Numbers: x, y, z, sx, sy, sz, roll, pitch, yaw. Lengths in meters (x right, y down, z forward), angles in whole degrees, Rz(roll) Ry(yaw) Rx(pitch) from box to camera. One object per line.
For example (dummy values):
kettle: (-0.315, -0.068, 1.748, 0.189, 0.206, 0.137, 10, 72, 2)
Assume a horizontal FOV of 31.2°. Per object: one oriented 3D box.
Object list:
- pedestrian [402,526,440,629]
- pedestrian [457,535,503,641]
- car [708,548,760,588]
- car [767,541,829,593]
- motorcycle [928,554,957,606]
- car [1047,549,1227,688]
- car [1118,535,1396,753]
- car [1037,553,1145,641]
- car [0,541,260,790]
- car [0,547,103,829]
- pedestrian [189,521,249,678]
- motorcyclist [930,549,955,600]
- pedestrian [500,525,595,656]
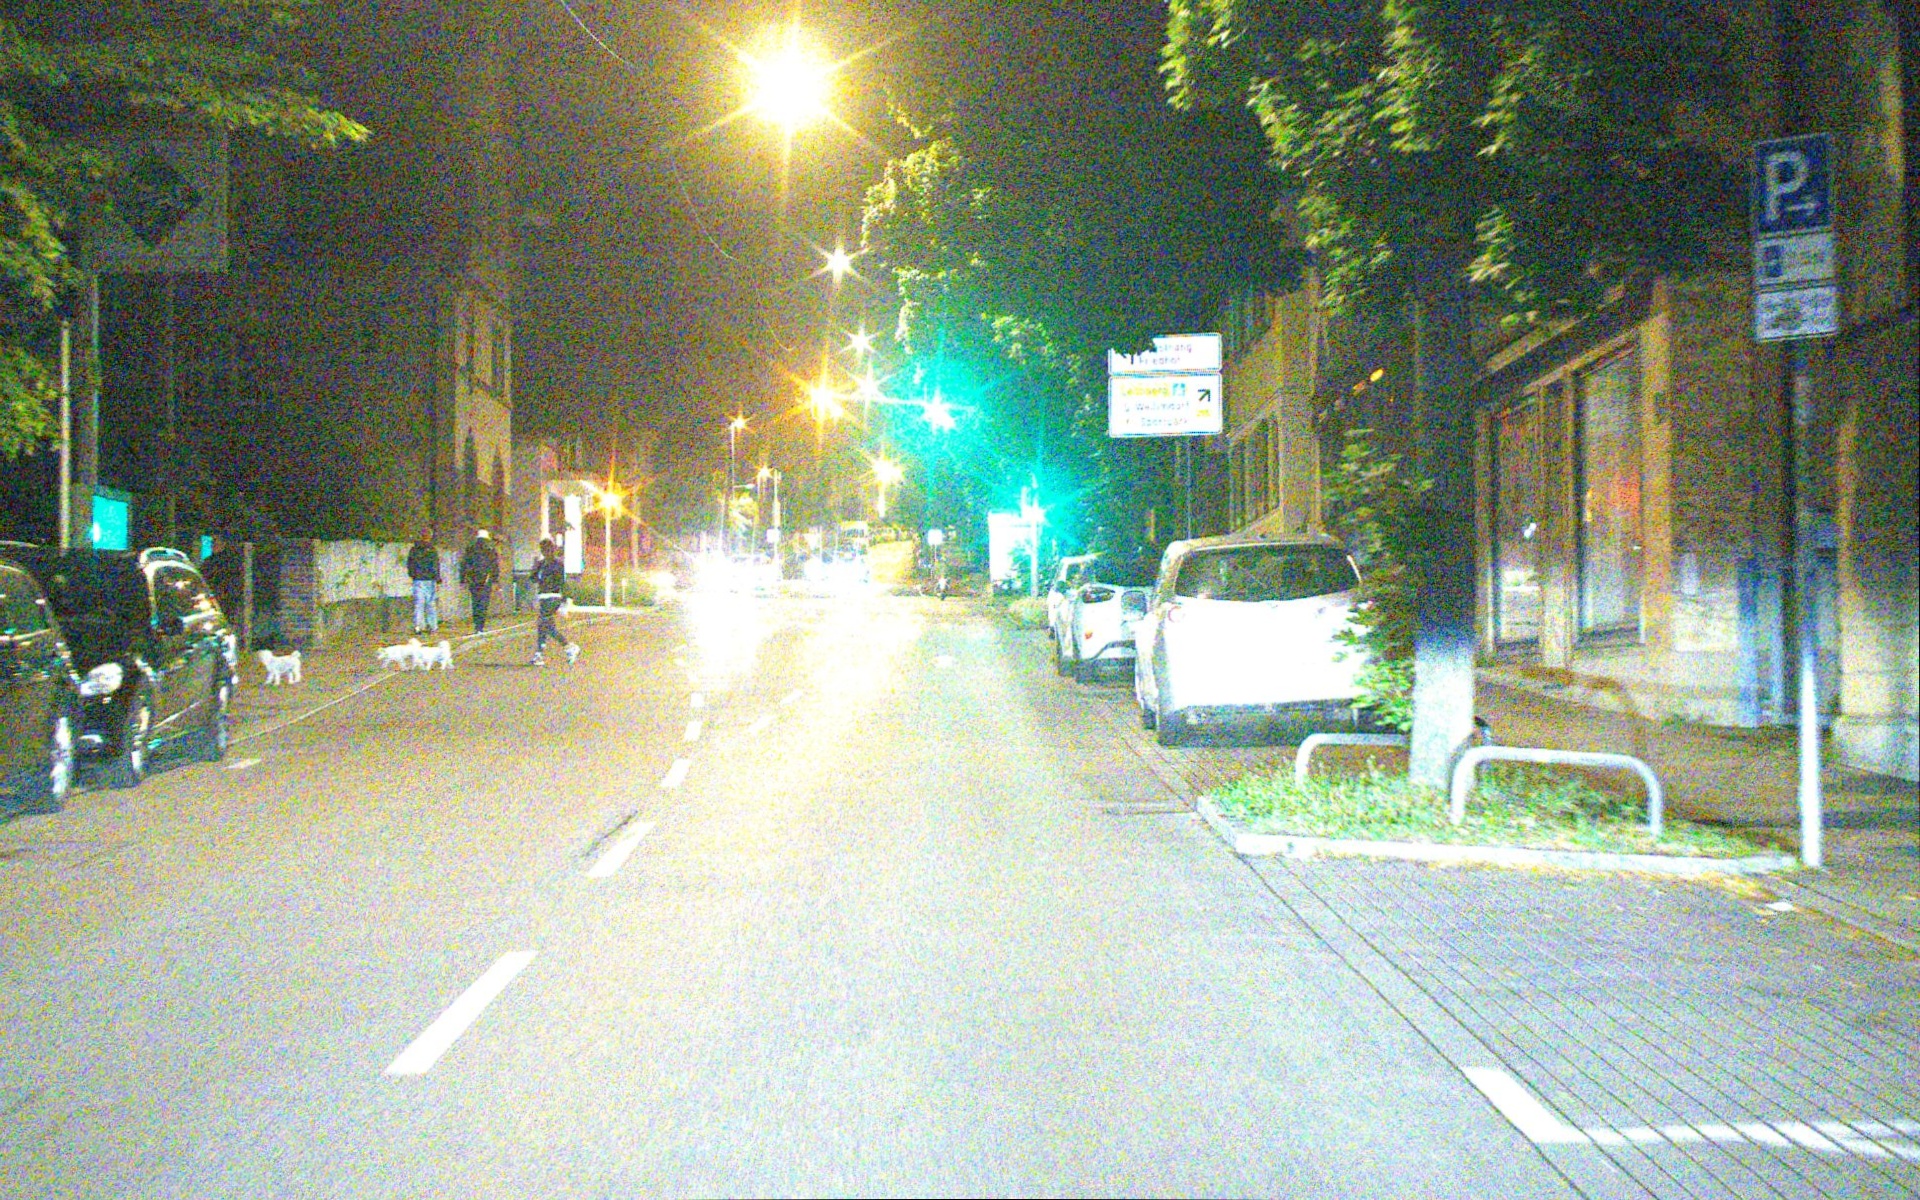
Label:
pedestrian: (-8.942, -0.366, 57.012, 0.569, 1.694, 0.930, 1, 0, -10)
pedestrian: (-8.017, -0.201, 57.411, 0.718, 1.759, 0.603, 1, 0, -9)
car: (-8.604, -1.216, 131.016, 1.715, 1.452, 3.922, 1, 0, -1)
car: (-5.603, -1.136, 119.302, 1.944, 1.711, 4.000, 1, 0, 0)
motorcycle: (-0.606, -0.691, 118.165, 0.931, 1.746, 2.625, 1, 0, 0)
car: (2.070, 0.176, 41.256, 1.868, 1.521, 4.150, -1, 1, -1)
car: (2.332, 0.292, 27.942, 1.812, 1.588, 4.274, -1, 1, -1)
car: (2.293, -0.066, 60.839, 1.629, 1.491, 3.415, 1, 1, -2)
car: (-5.960, 0.353, 23.041, 1.721, 1.432, 4.811, 1, 1, -2)
car: (-5.768, 0.436, 17.756, 1.721, 1.432, 4.191, 1, 1, -2)
pedestrian: (-8.116, -0.002, 37.668, 0.580, 1.694, 0.531, 1, 0, -9)
motorcyclist: (-0.606, -0.867, 118.058, 0.848, 1.746, 0.805, 1, 0, 0)
pedestrian: (-5.538, -0.126, 46.140, 0.766, 1.694, 0.925, 4, 1, 37)
